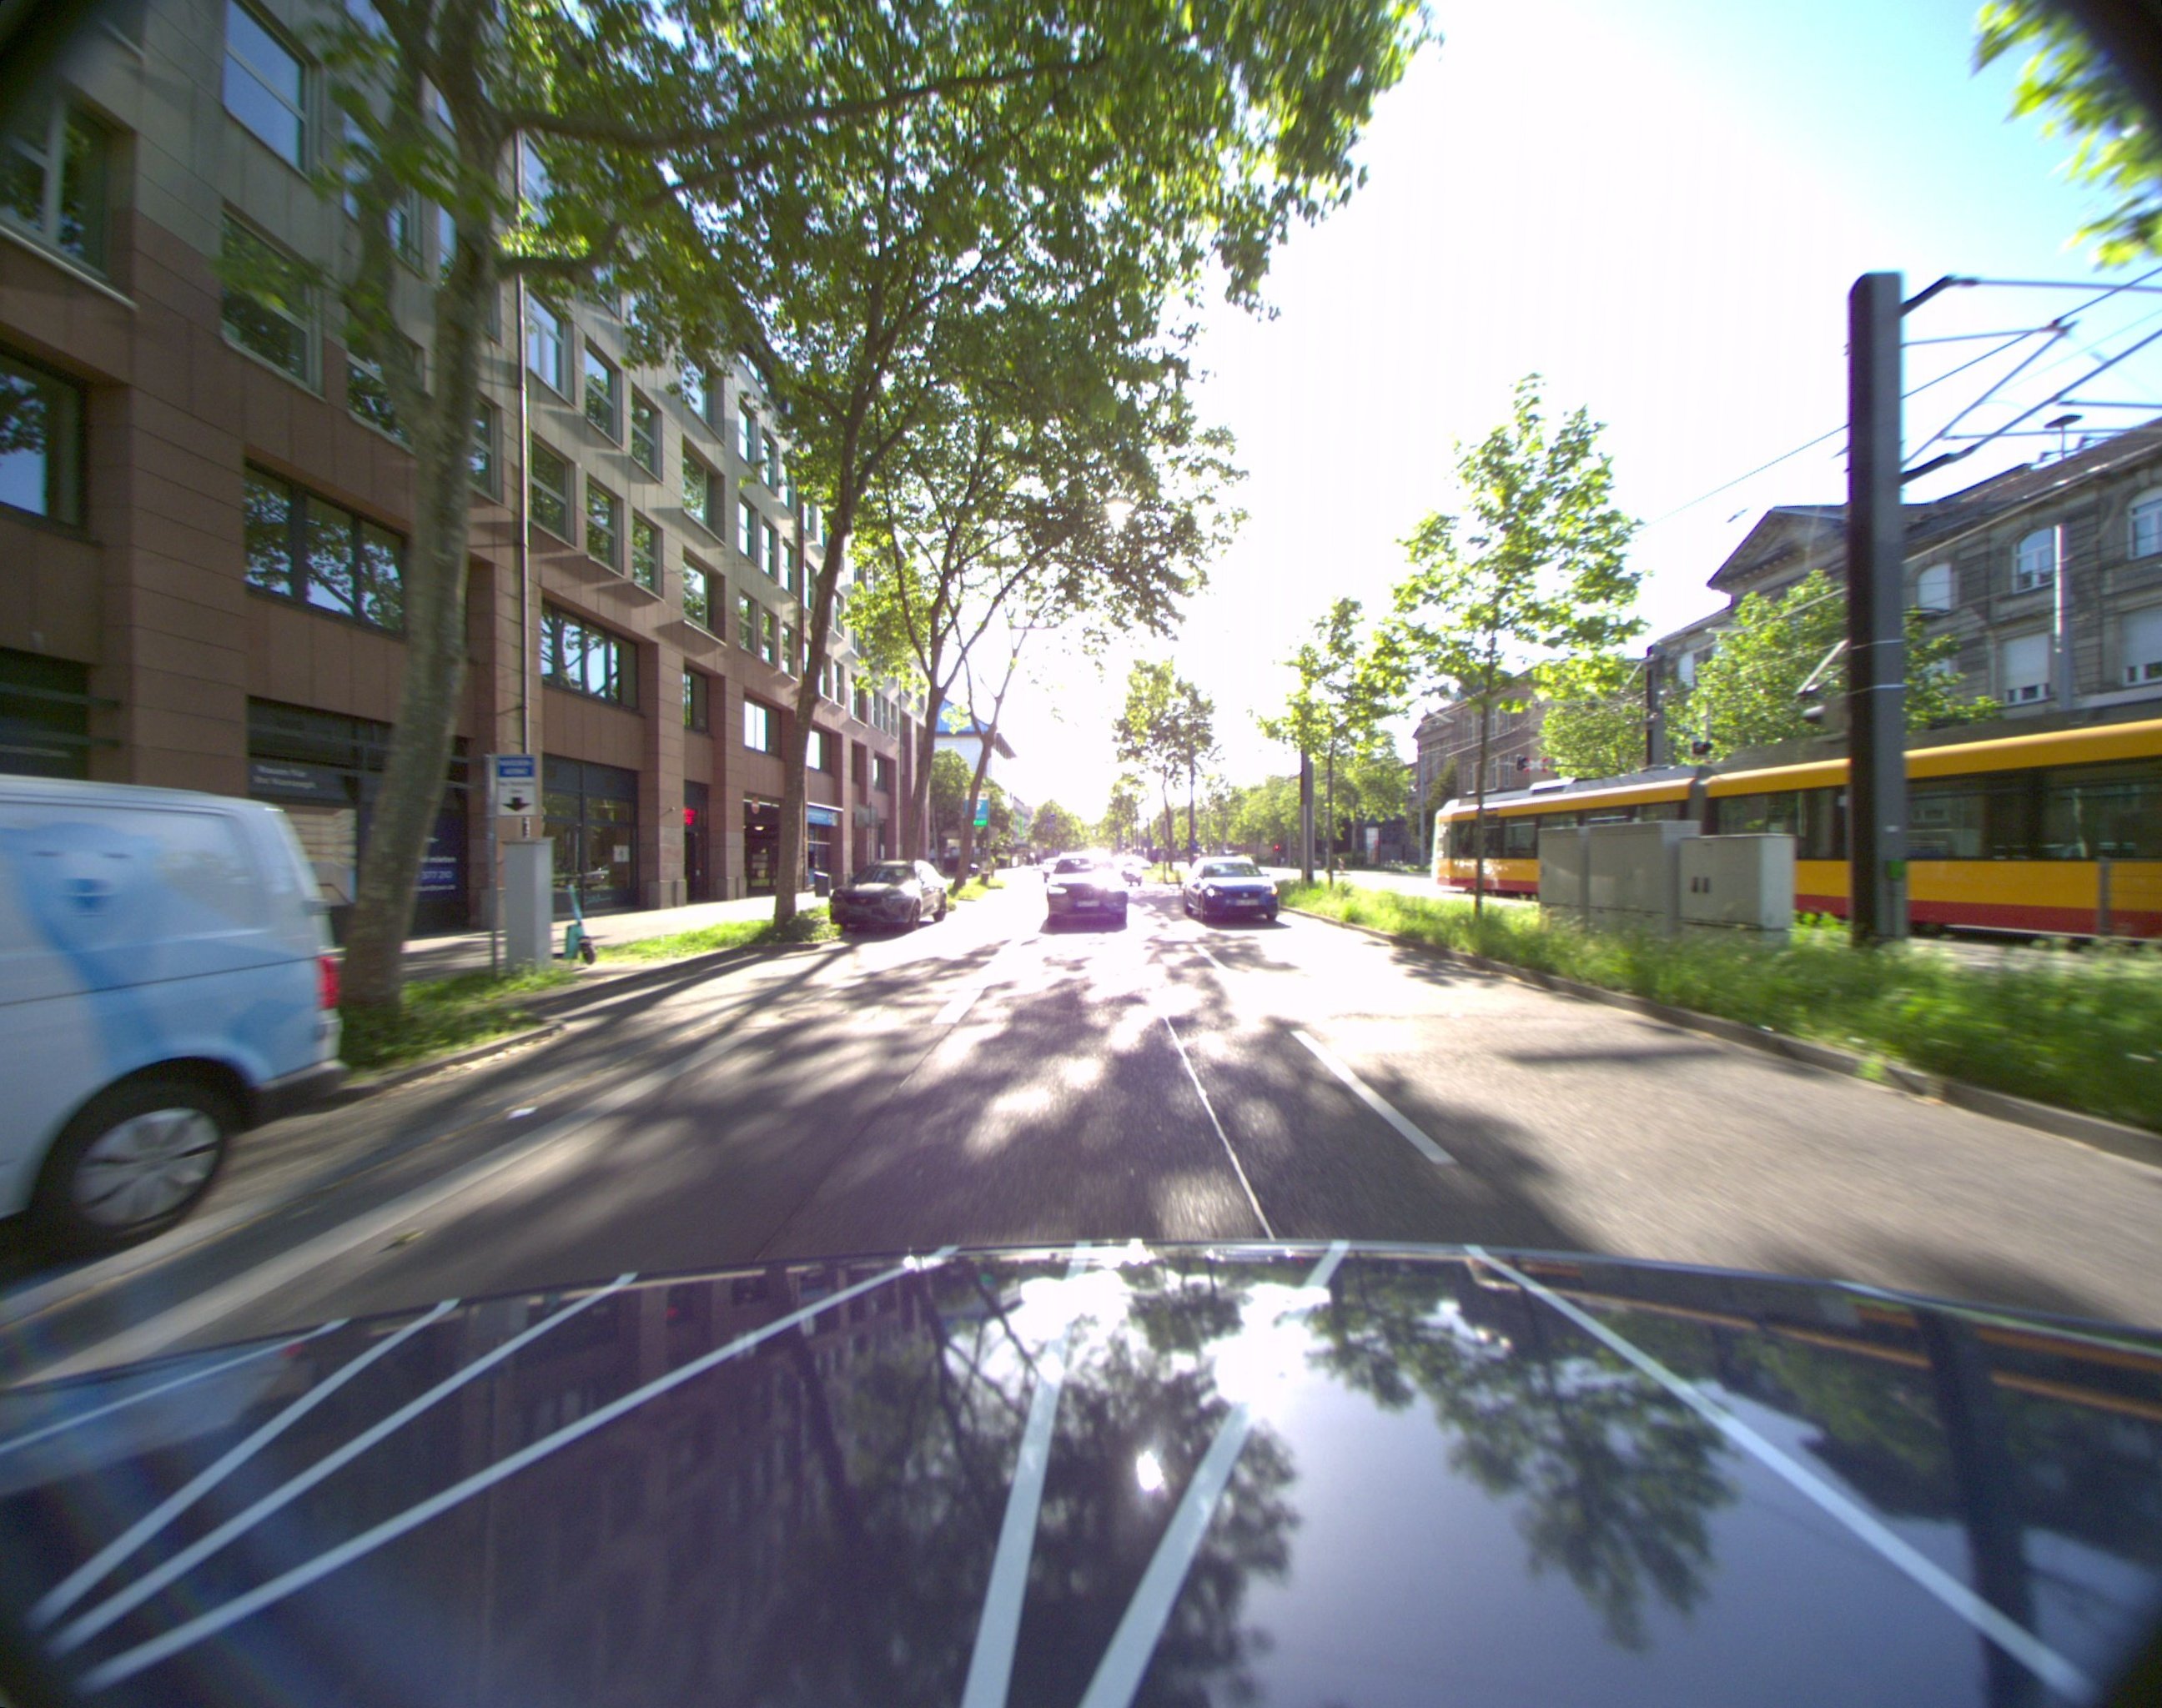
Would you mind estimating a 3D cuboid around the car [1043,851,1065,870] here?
[{"bbox_3d":[-2.596,0.608,73.016,1.833,1.609,3.999,-2,1,1],"label":"car"}]

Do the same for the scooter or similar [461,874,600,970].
[{"bbox_3d":[-7.321,0.895,10.134,1.544,1.229,0.449,-1,-2,1],"label":"scooter or similar"}]

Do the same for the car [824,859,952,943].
[{"bbox_3d":[-4.327,0.980,17.731,1.672,1.561,4.280,-2,1,2],"label":"car"}]

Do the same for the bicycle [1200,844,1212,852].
[{"bbox_3d":[16.561,-0.810,100.648,1.666,1.036,0.543,-2,2,-30],"label":"bicycle"}]

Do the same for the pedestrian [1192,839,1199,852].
[{"bbox_3d":[16.004,-1.191,105.874,0.595,1.735,0.698,-3,2,-31],"label":"pedestrian"}]

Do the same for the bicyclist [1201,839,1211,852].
[{"bbox_3d":[16.586,-1.111,100.672,0.970,1.634,0.833,-3,2,-31],"label":"bicyclist"}]

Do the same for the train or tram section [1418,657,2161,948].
[{"bbox_3d":[14.248,-0.723,17.827,2.971,3.463,21.213,-2,0,-1],"label":"train or tram section"}]

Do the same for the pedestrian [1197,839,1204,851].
[{"bbox_3d":[16.446,-1.202,104.612,0.595,1.667,0.698,-3,2,-31],"label":"pedestrian"}]

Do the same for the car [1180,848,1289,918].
[{"bbox_3d":[3.590,0.624,18.430,1.778,1.440,3.868,-3,1,-1],"label":"car"}]

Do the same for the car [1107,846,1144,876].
[{"bbox_3d":[2.324,0.326,40.646,1.798,1.420,4.000,-2,1,1],"label":"car"}]

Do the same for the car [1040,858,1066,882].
[{"bbox_3d":[-1.825,1.021,49.429,1.605,1.387,3.998,-2,1,-2],"label":"car"}]

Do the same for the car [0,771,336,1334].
[{"bbox_3d":[-4.816,0.757,1.510,1.861,2.002,4.723,-2,1,1],"label":"car"}]

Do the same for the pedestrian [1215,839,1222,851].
[{"bbox_3d":[18.433,-1.178,101.926,0.595,1.612,0.698,-3,2,-31],"label":"pedestrian"}]

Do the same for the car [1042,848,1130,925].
[{"bbox_3d":[0.116,0.692,19.566,1.949,1.690,5.305,-1,1,0],"label":"car"}]
